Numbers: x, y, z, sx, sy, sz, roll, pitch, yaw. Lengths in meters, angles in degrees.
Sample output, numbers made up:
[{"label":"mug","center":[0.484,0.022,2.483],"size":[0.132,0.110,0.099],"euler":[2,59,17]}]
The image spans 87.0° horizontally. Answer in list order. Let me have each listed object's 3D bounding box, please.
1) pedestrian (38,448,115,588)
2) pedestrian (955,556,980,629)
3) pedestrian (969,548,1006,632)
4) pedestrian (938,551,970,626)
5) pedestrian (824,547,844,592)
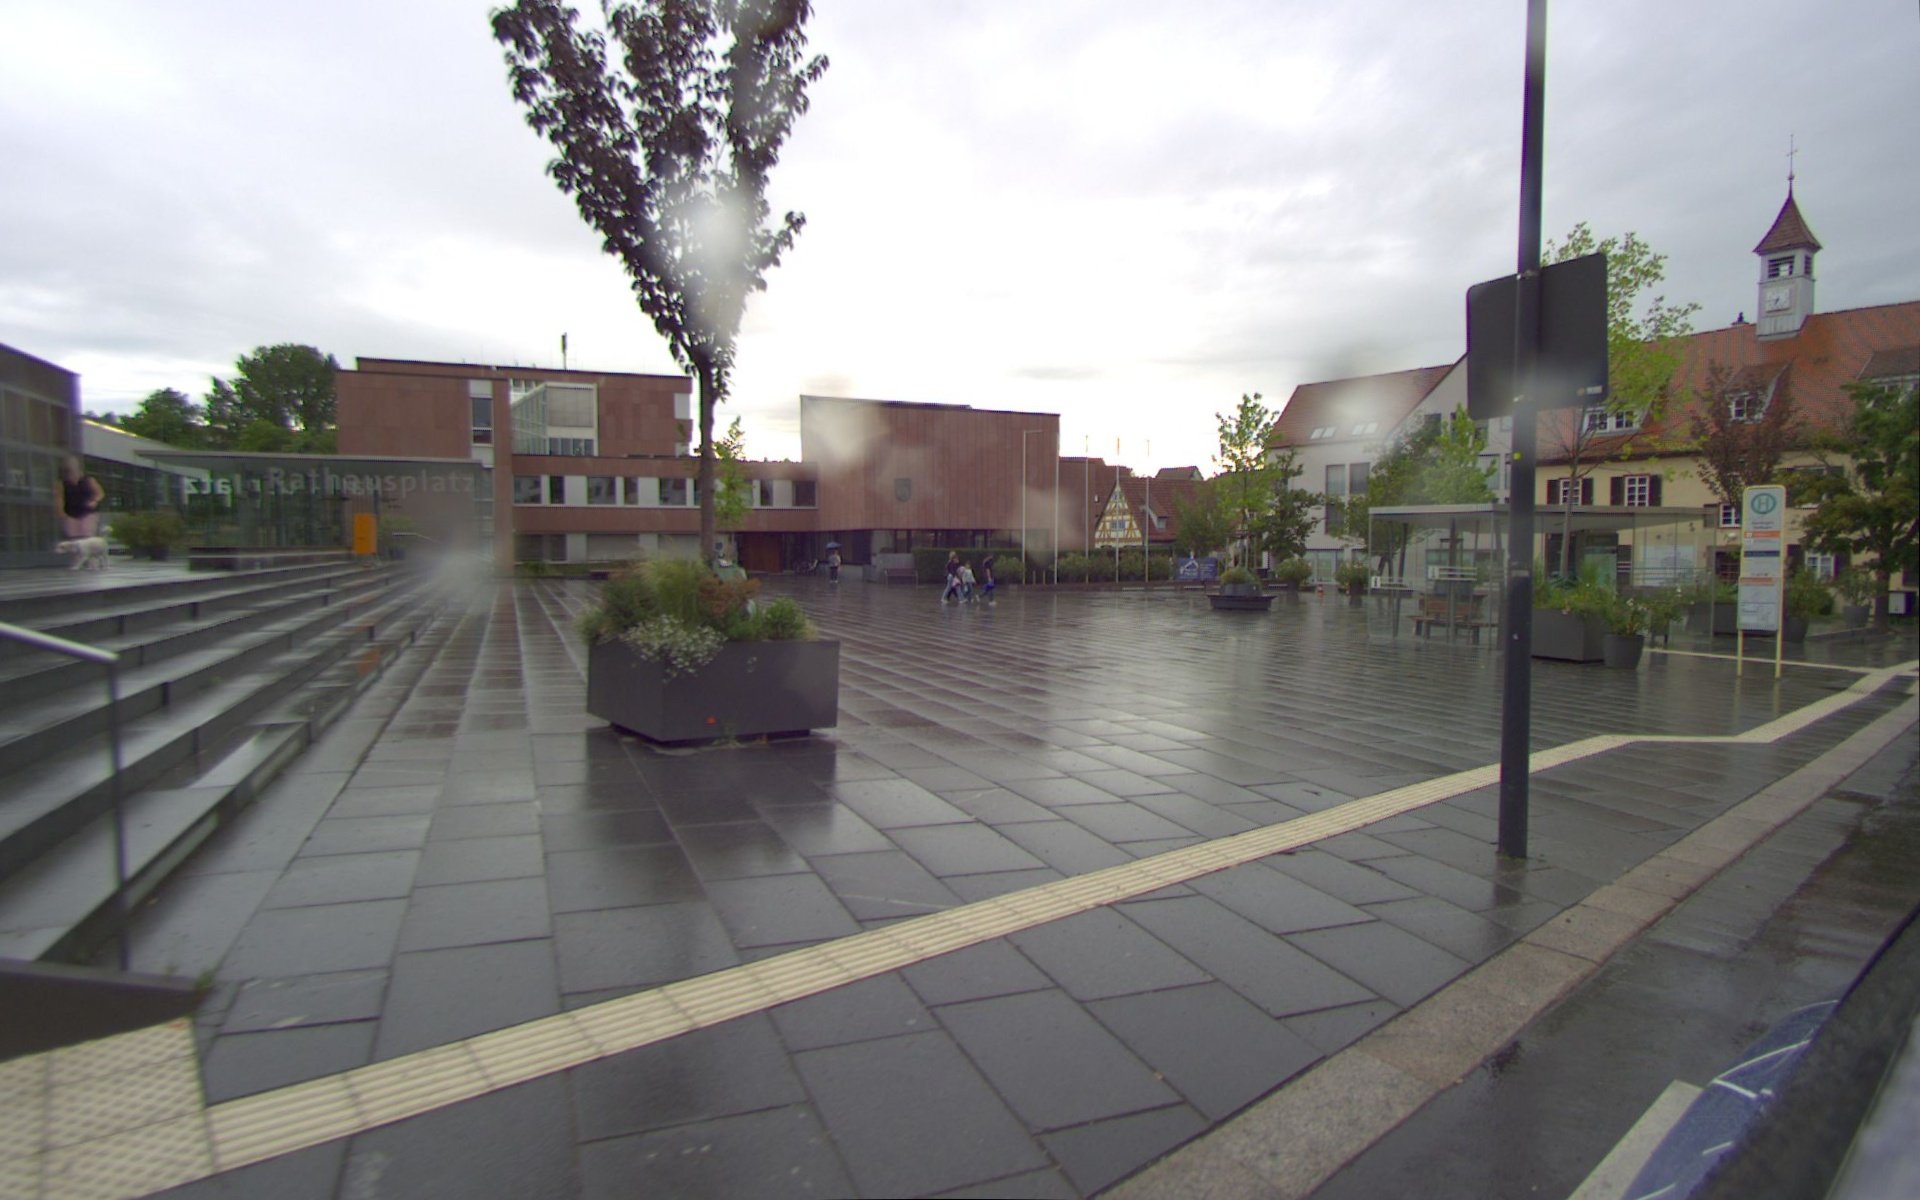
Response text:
[{"label":"pedestrian","center":[-14.155,-1.302,16.239],"size":[0.645,2.173,0.762],"euler":[0,3,-19]},{"label":"pedestrian","center":[0.246,-0.265,35.015],"size":[0.557,2.468,0.738],"euler":[0,3,-24]},{"label":"pedestrian","center":[0.901,-0.351,33.380],"size":[0.814,2.716,1.060],"euler":[0,3,-19]},{"label":"pedestrian","center":[-0.211,-0.393,34.127],"size":[0.760,2.468,0.946],"euler":[0,3,-22]},{"label":"pedestrian","center":[-6.640,-1.623,53.237],"size":[0.783,2.336,0.905],"euler":[0,3,-28]}]
